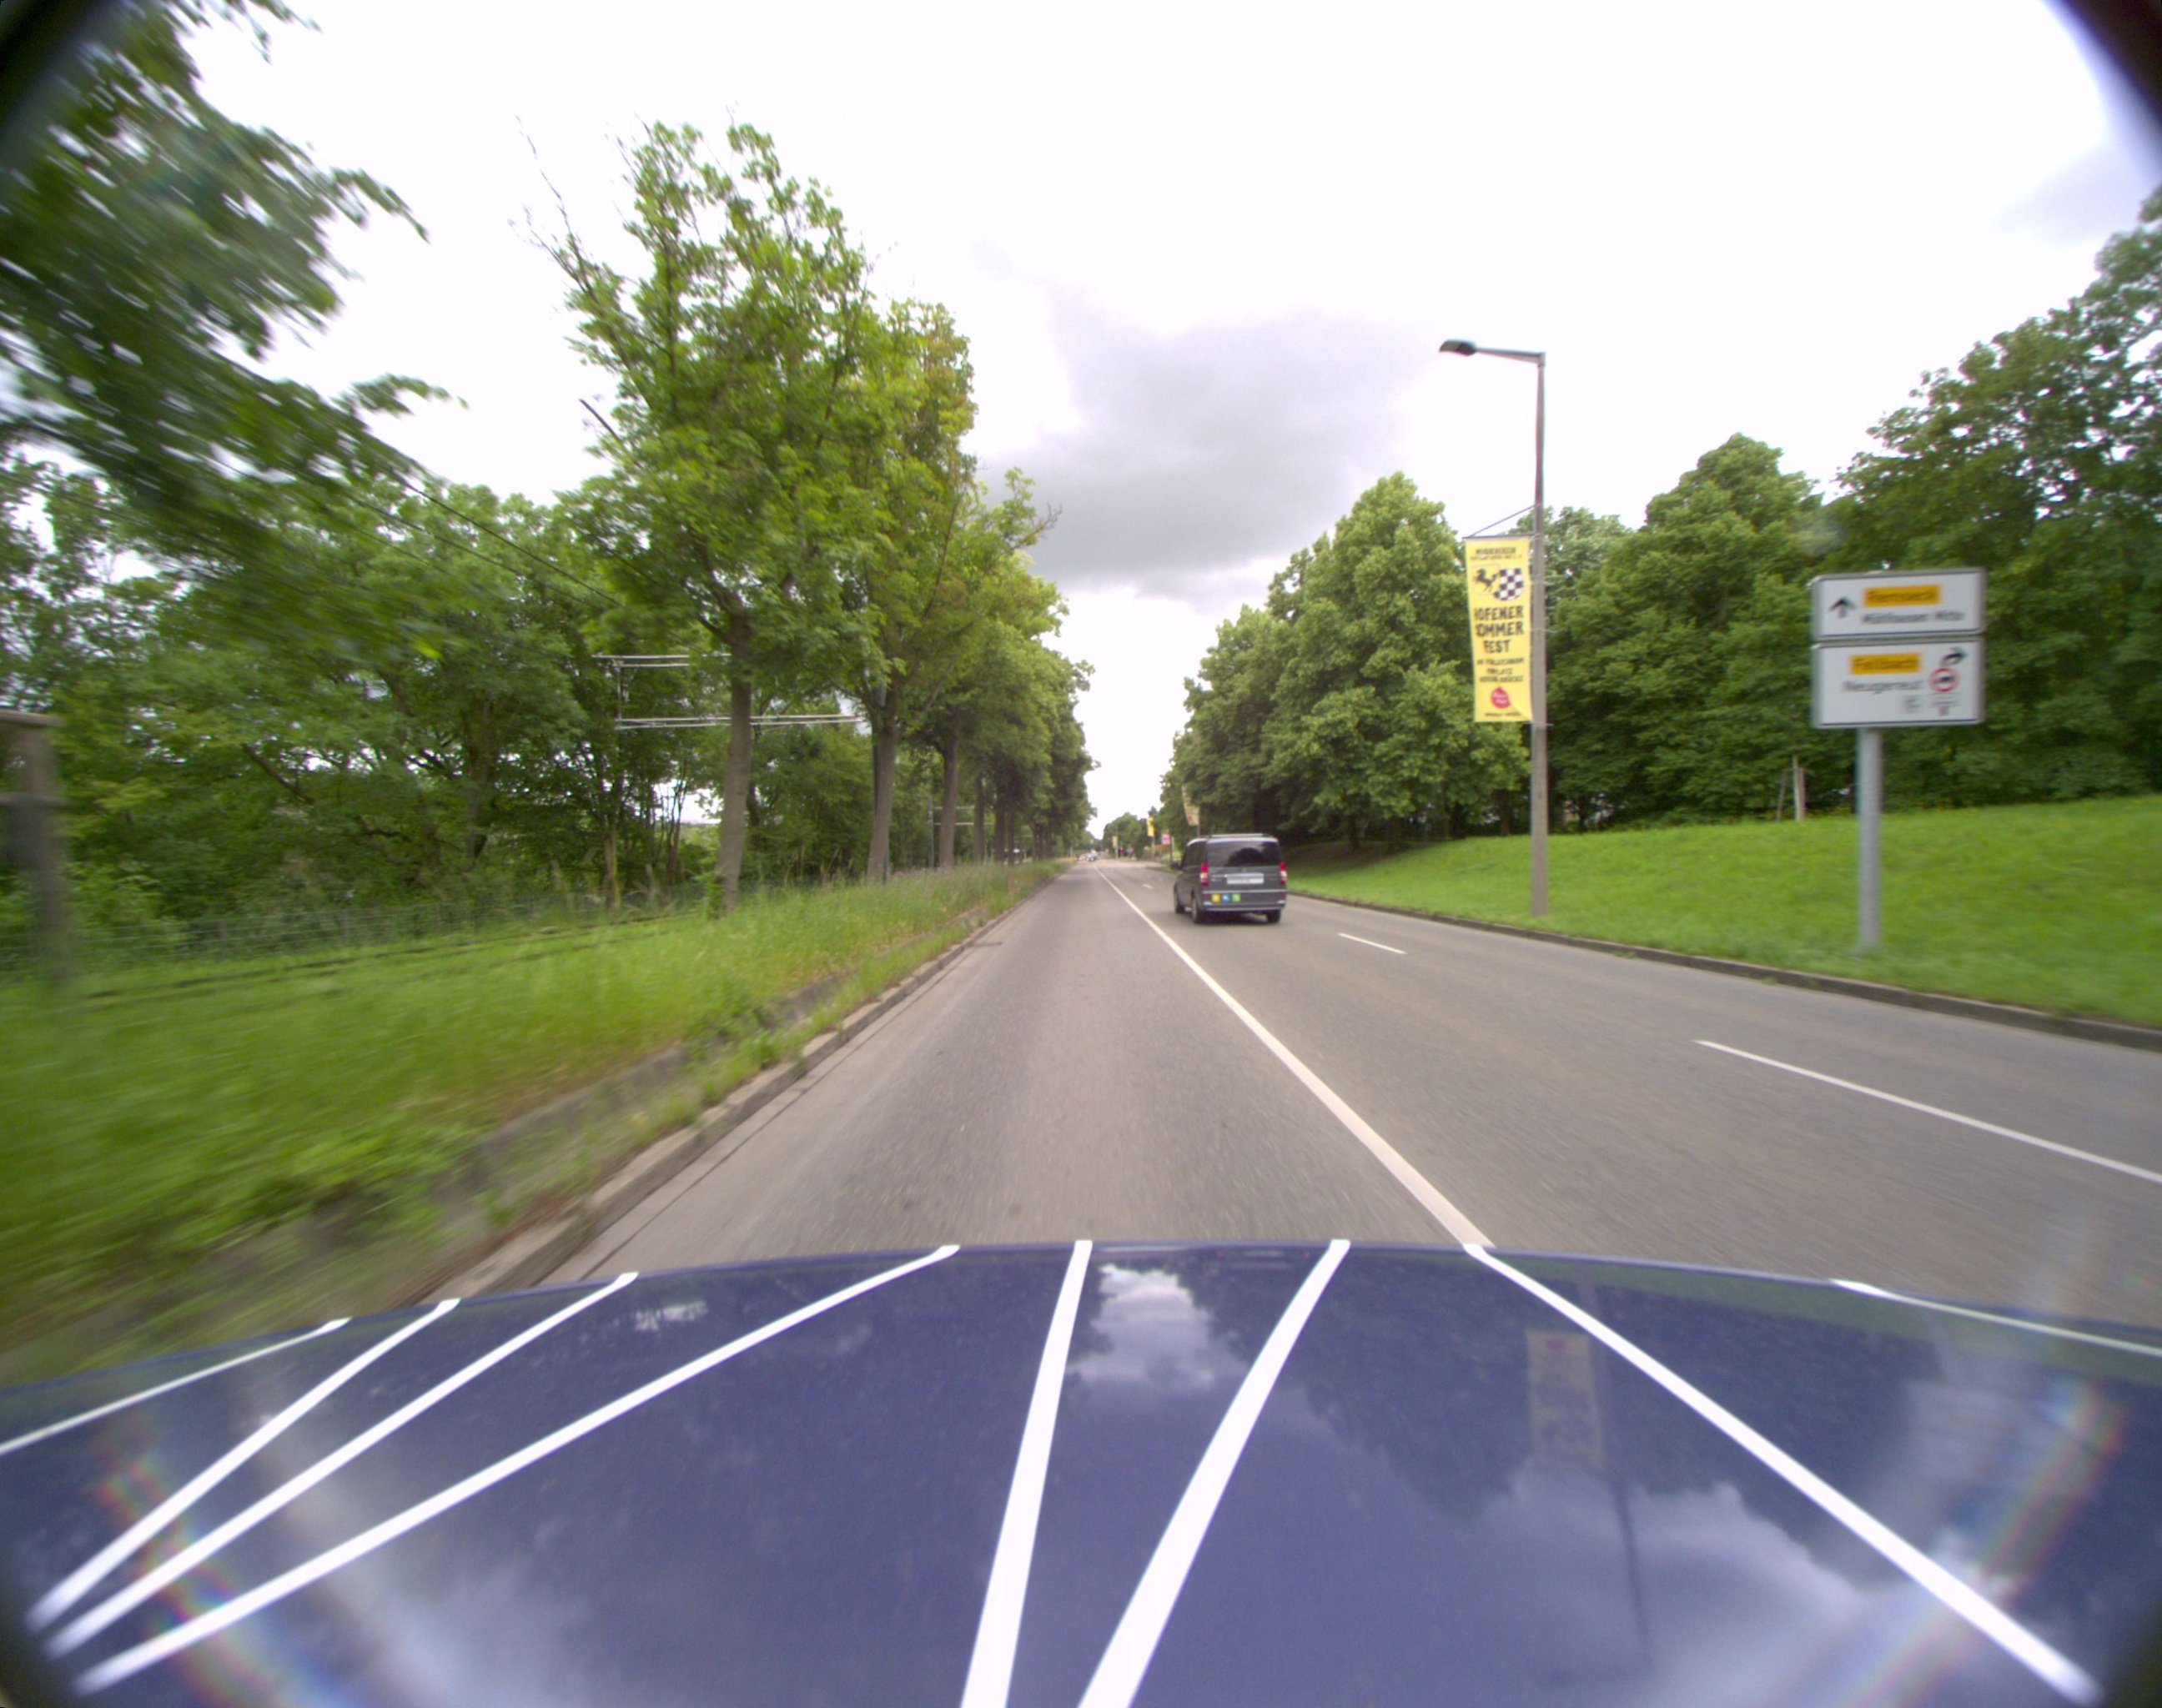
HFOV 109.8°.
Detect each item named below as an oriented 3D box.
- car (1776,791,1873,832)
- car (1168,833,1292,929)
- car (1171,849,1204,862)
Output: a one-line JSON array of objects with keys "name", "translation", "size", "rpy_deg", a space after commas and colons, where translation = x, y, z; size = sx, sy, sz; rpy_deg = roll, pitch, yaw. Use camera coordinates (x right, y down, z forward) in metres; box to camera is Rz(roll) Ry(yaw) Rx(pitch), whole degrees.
[{"name": "car", "translation": [37.715, -2.140, 38.526], "size": [4.911, 1.884, 1.996], "rpy_deg": [-3, 1, -27]}, {"name": "car", "translation": [3.355, 0.522, 18.192], "size": [1.998, 1.944, 5.183], "rpy_deg": [-1, 1, 1]}, {"name": "car", "translation": [14.877, 0.214, 106.068], "size": [4.220, 1.483, 1.749], "rpy_deg": [-2, -1, -3]}]
